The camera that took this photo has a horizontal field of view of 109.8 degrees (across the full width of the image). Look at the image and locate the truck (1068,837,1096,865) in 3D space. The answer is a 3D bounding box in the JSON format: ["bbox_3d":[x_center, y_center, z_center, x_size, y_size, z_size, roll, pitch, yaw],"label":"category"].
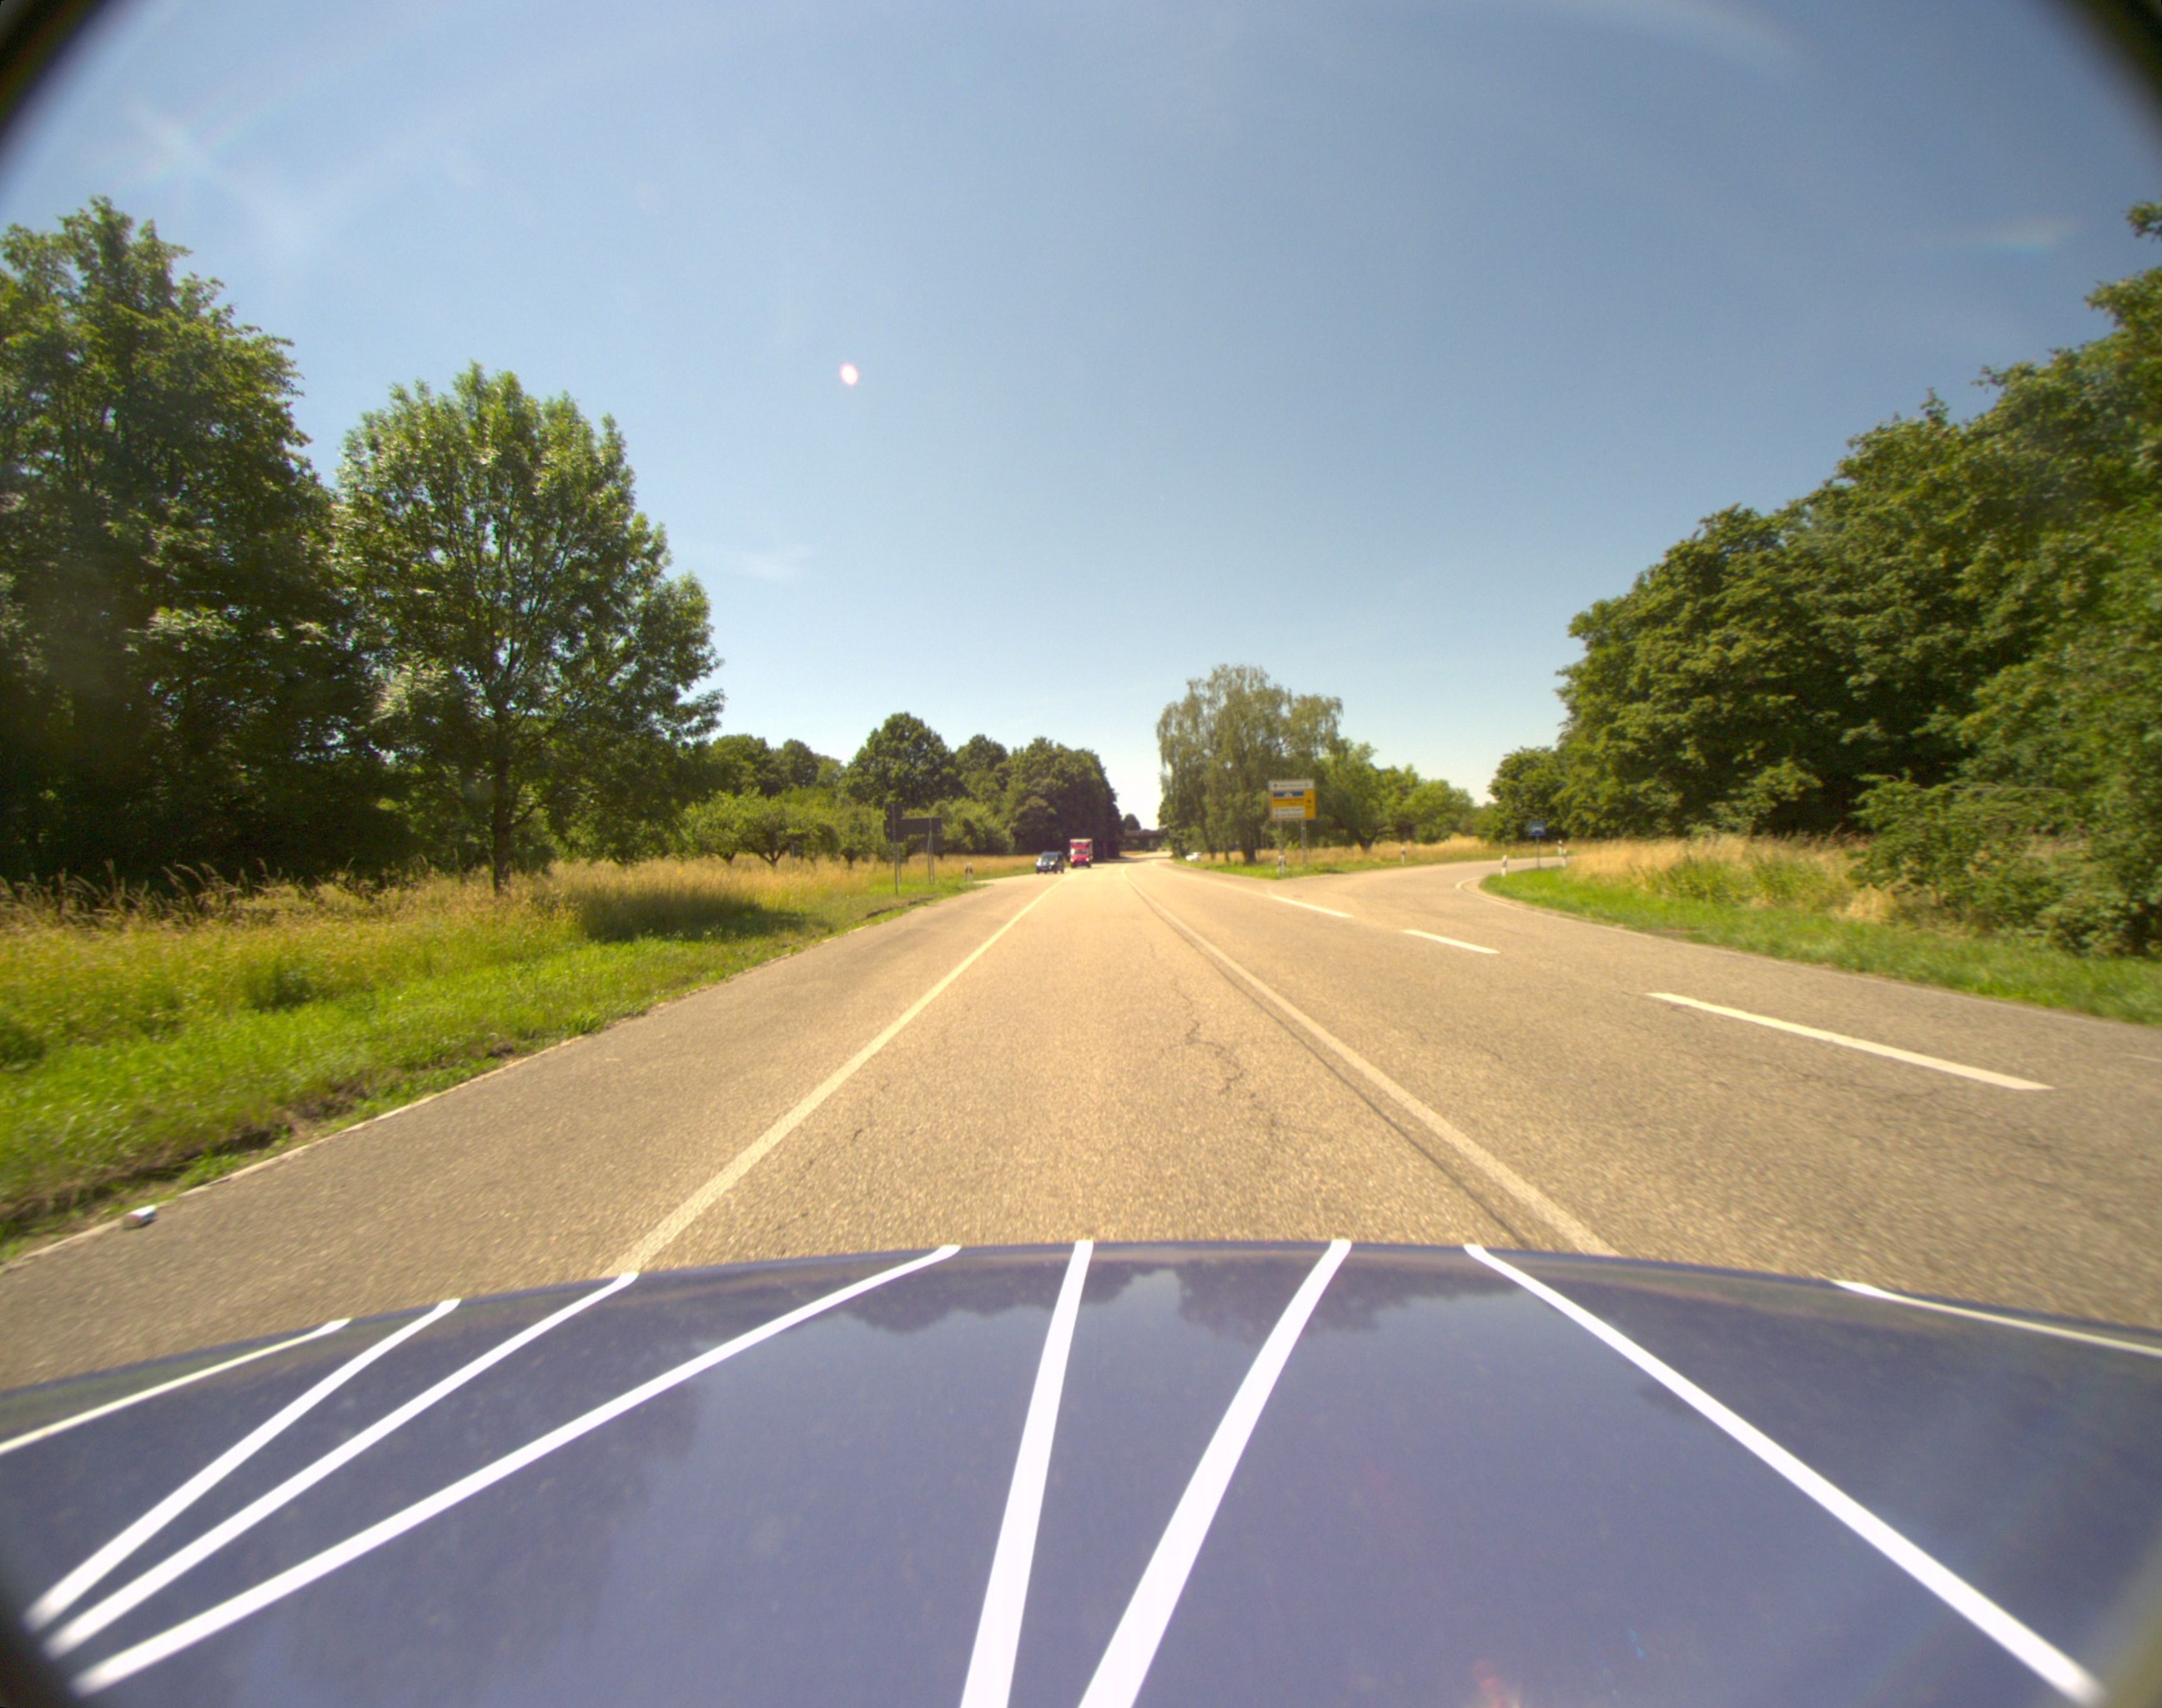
[{"bbox_3d":[0.189,-0.403,84.904,2.457,2.927,6.976,-1,1,6],"label":"truck"}]

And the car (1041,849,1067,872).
[{"bbox_3d":[-2.179,0.479,62.463,1.746,1.833,4.000,0,1,4],"label":"car"}]
